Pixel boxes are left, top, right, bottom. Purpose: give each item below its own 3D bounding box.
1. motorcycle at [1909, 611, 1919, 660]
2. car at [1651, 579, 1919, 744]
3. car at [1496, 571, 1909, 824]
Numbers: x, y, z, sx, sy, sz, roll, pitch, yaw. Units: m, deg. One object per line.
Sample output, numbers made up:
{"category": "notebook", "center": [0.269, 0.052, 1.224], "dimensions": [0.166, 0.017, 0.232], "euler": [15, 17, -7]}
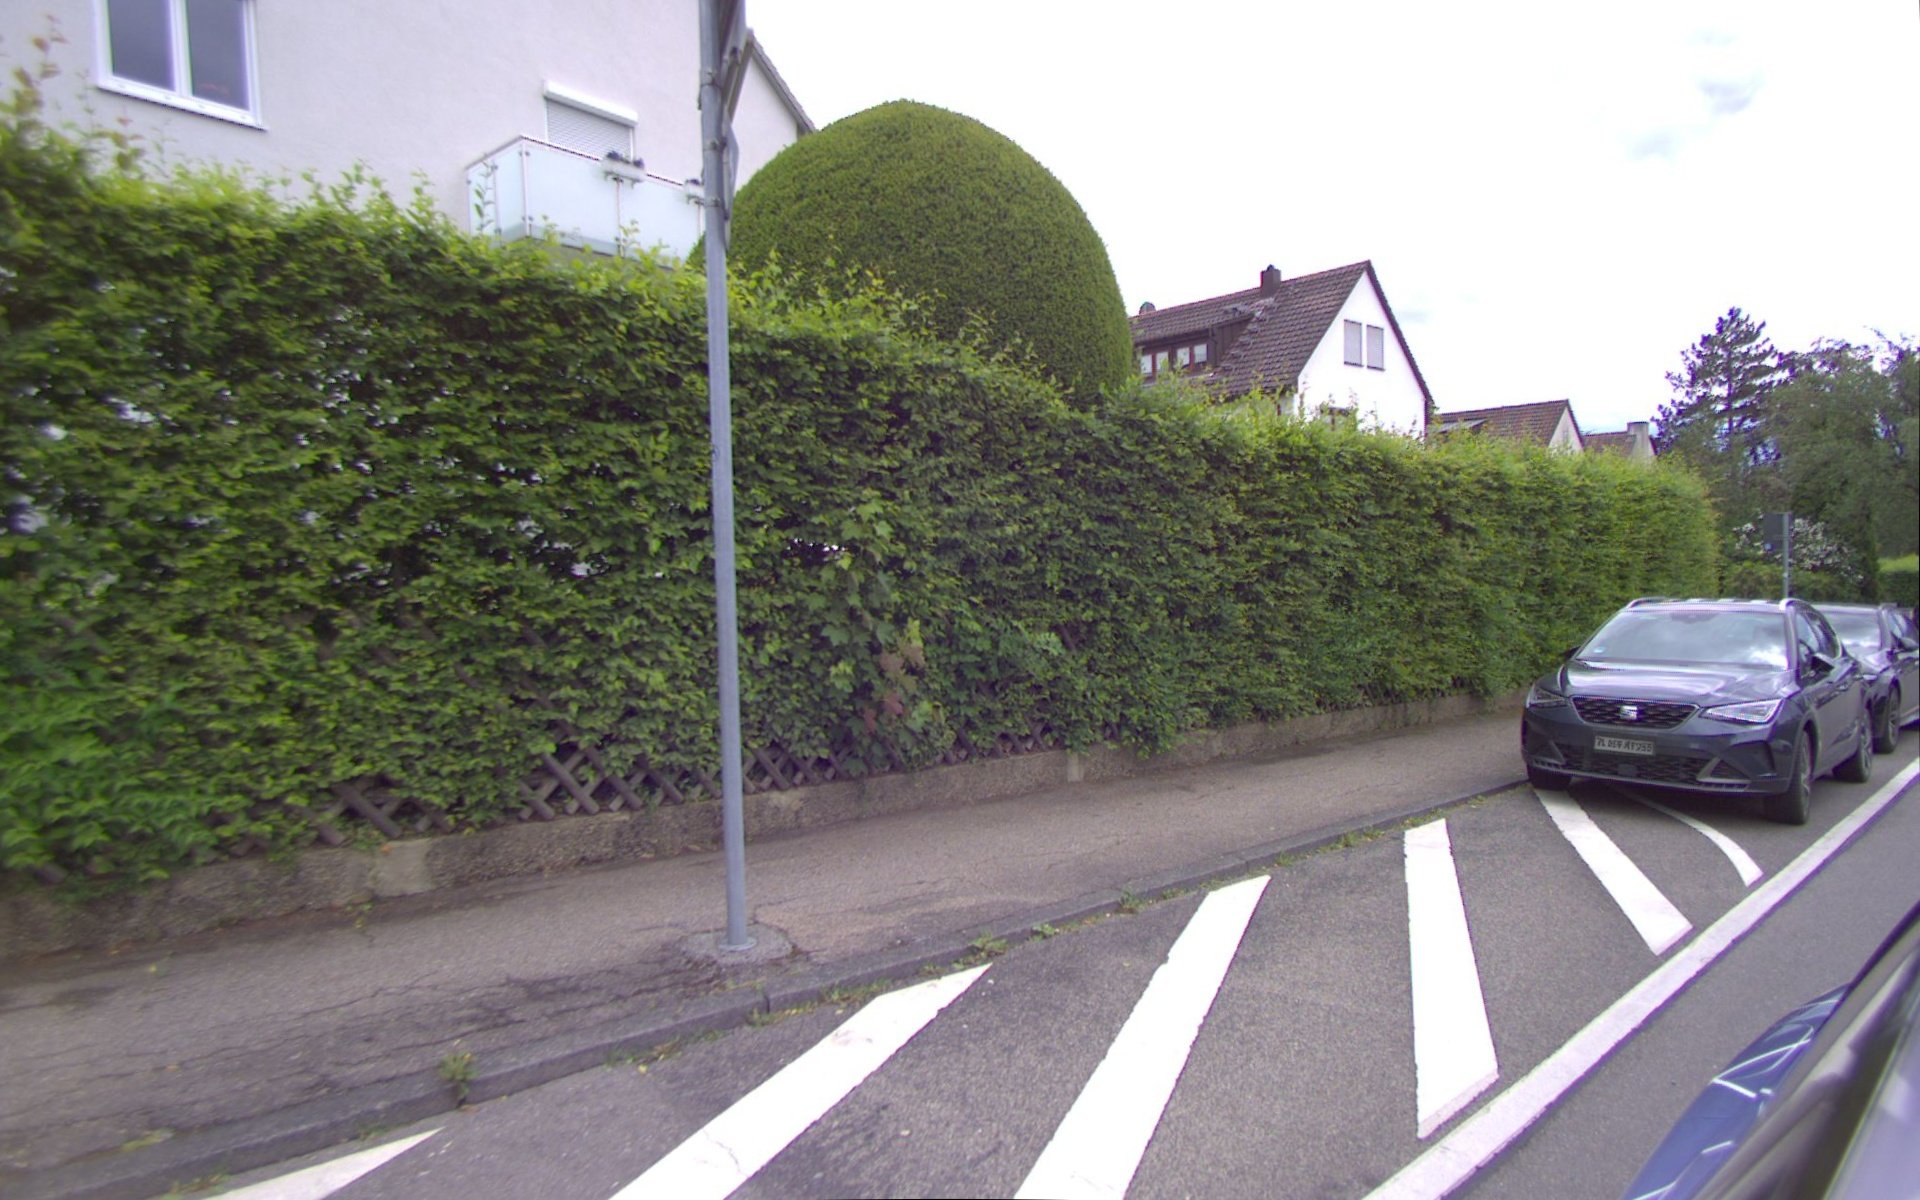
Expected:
{"category": "motorcycle", "center": [23.686, 0.898, 23.710], "dimensions": [1.918, 1.147, 0.655], "euler": [4, 3, 23]}
{"category": "car", "center": [10.129, 0.558, 11.860], "dimensions": [5.114, 1.512, 1.928], "euler": [0, 2, -39]}
{"category": "car", "center": [6.197, 0.568, 8.247], "dimensions": [4.302, 1.507, 1.793], "euler": [0, 2, -41]}
